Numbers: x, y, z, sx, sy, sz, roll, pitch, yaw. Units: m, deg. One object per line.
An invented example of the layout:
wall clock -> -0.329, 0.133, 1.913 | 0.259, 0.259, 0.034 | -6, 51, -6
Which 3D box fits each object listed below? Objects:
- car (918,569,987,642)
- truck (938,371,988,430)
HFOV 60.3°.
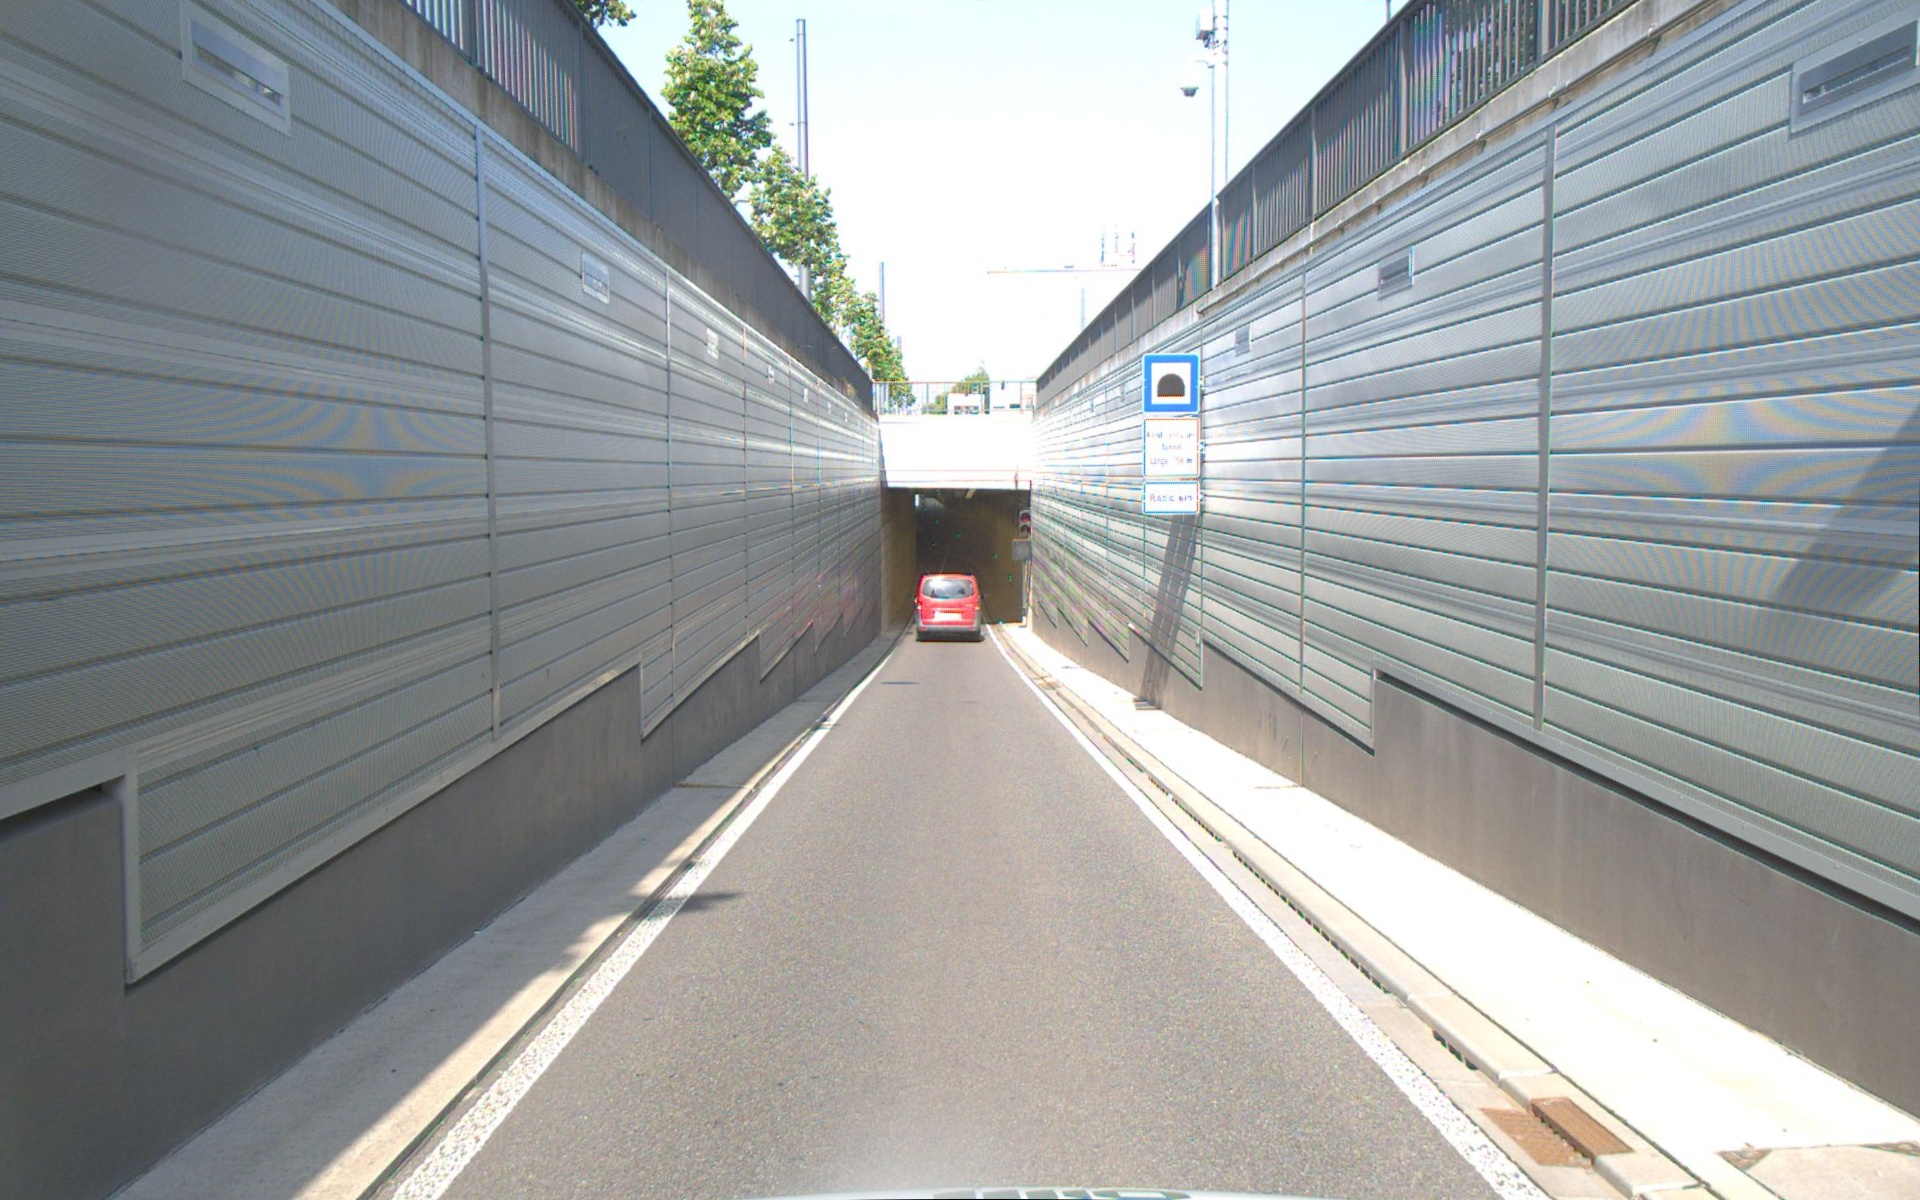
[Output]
car -> -0.246, 0.117, 47.839 | 1.862, 1.891, 4.000 | 1, 2, -1
truck -> 0.122, -14.550, 121.218 | 3.322, 3.789, 10.454 | -1, 4, -2
